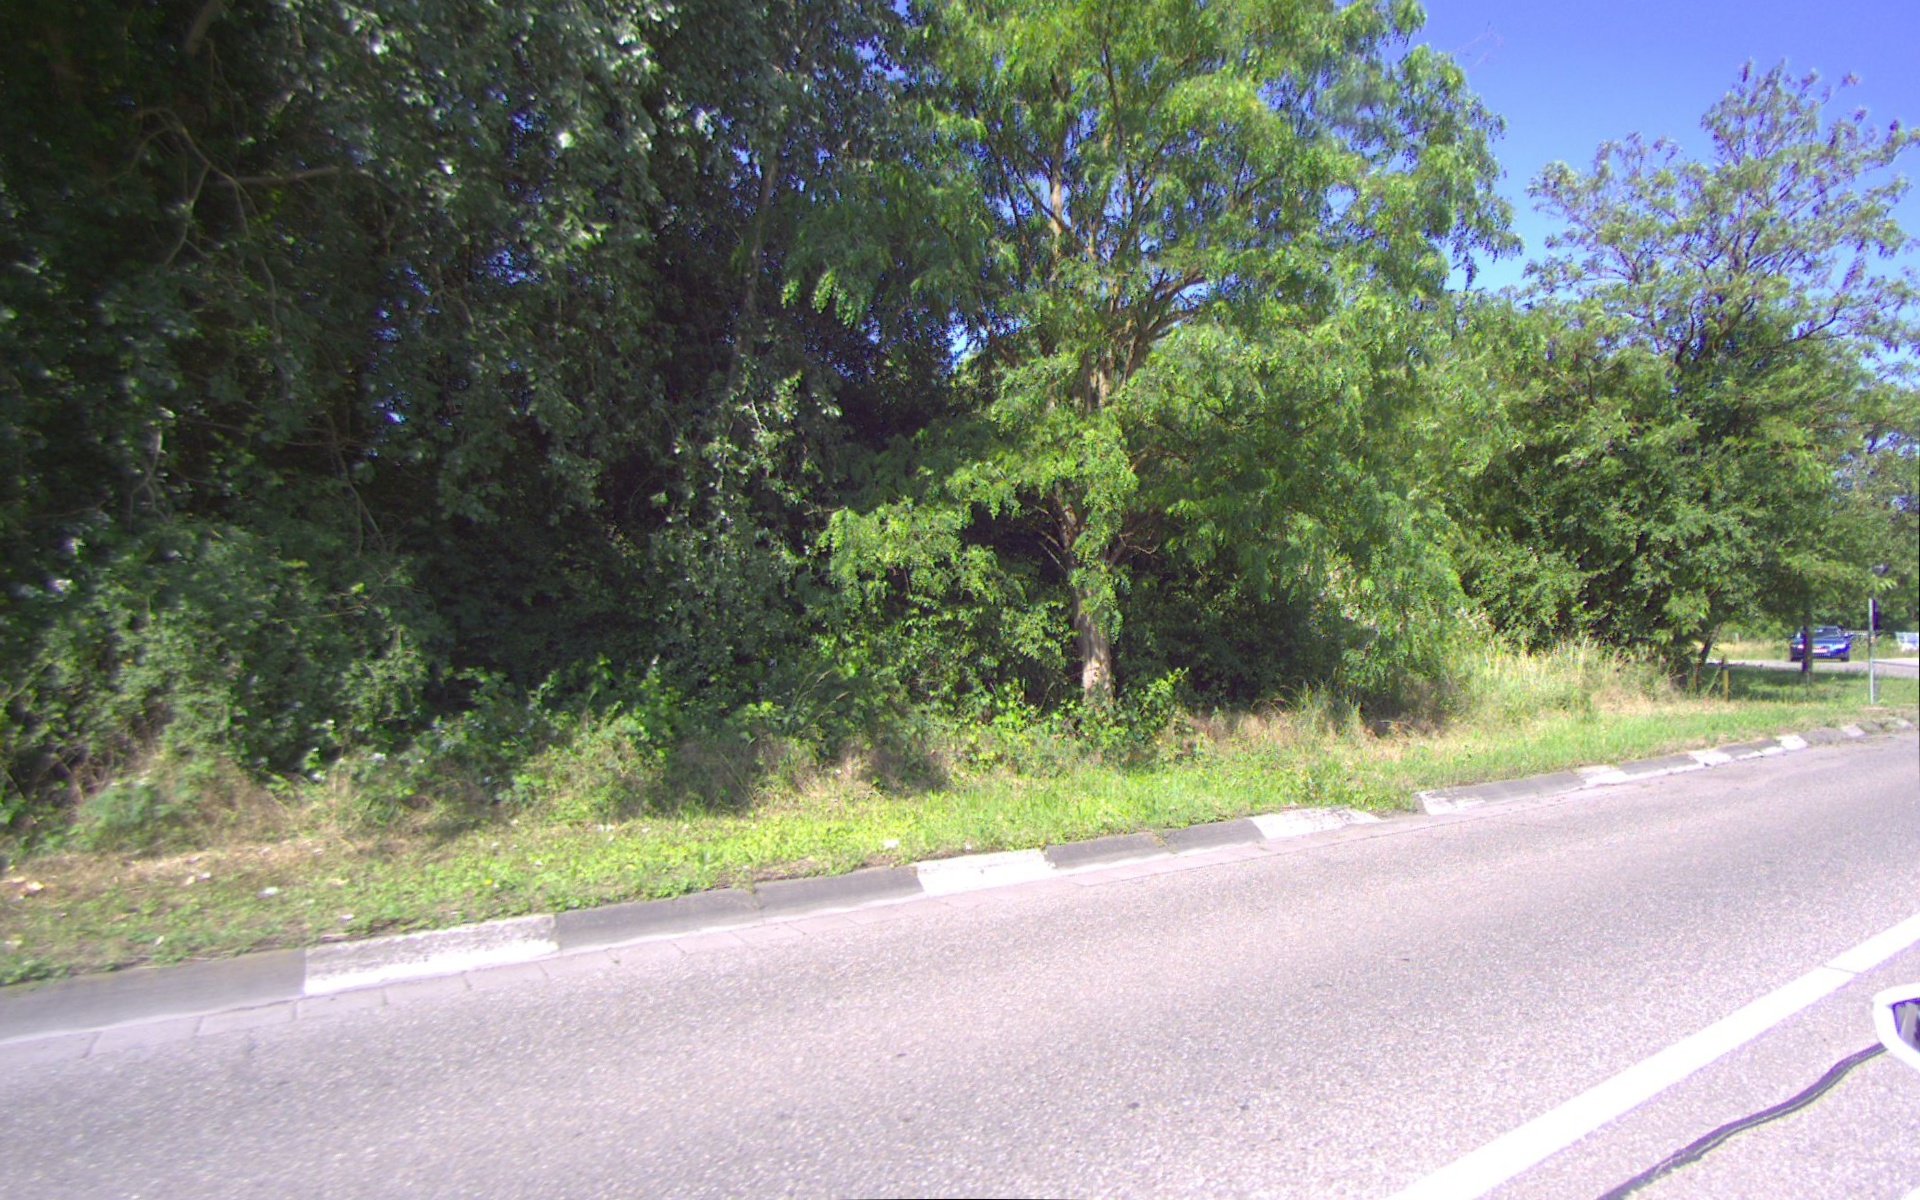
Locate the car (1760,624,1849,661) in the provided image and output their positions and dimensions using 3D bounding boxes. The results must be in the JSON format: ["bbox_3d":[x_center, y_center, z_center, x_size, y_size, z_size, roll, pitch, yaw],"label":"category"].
[{"bbox_3d":[34.655,1.736,41.347,1.805,1.405,4.419,-2,-2,27],"label":"car"}]
